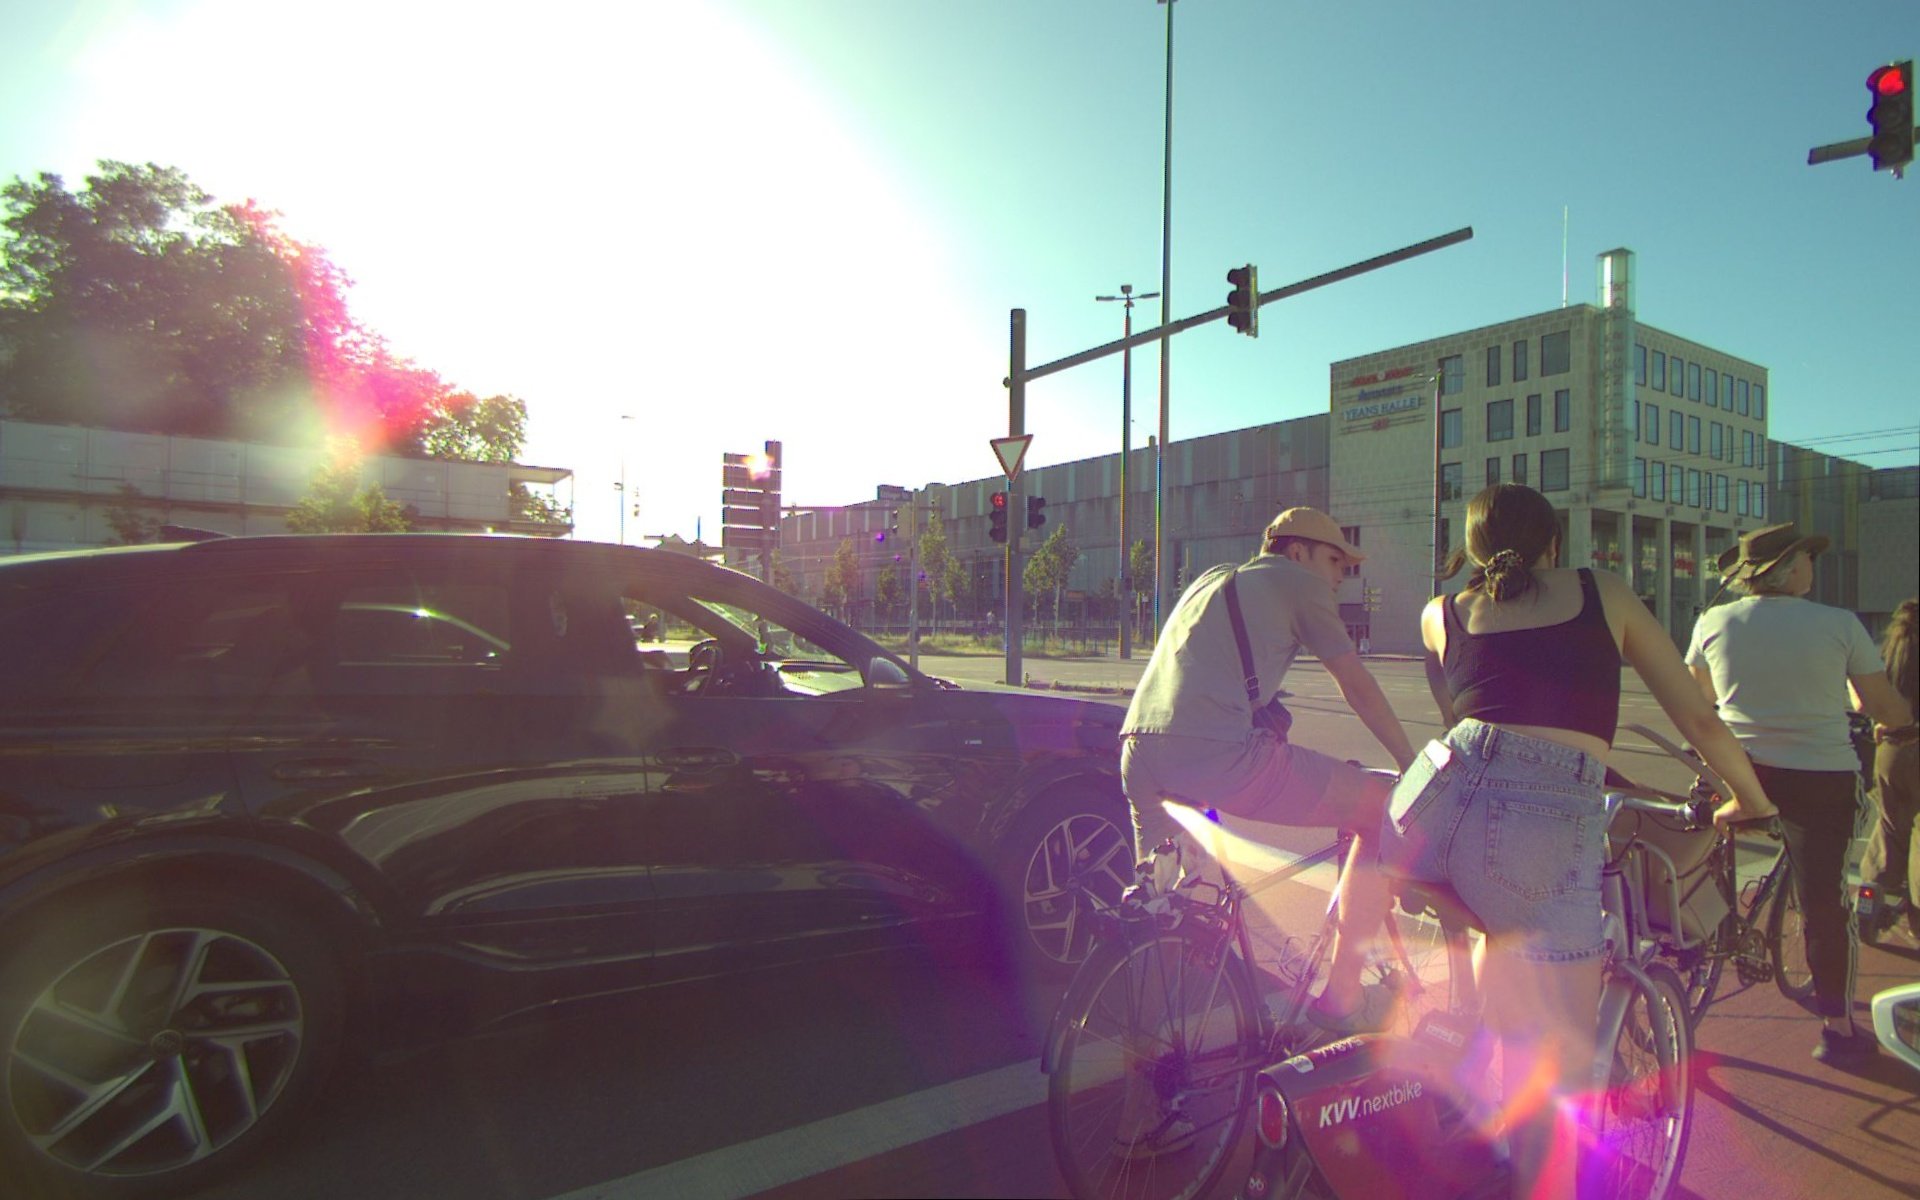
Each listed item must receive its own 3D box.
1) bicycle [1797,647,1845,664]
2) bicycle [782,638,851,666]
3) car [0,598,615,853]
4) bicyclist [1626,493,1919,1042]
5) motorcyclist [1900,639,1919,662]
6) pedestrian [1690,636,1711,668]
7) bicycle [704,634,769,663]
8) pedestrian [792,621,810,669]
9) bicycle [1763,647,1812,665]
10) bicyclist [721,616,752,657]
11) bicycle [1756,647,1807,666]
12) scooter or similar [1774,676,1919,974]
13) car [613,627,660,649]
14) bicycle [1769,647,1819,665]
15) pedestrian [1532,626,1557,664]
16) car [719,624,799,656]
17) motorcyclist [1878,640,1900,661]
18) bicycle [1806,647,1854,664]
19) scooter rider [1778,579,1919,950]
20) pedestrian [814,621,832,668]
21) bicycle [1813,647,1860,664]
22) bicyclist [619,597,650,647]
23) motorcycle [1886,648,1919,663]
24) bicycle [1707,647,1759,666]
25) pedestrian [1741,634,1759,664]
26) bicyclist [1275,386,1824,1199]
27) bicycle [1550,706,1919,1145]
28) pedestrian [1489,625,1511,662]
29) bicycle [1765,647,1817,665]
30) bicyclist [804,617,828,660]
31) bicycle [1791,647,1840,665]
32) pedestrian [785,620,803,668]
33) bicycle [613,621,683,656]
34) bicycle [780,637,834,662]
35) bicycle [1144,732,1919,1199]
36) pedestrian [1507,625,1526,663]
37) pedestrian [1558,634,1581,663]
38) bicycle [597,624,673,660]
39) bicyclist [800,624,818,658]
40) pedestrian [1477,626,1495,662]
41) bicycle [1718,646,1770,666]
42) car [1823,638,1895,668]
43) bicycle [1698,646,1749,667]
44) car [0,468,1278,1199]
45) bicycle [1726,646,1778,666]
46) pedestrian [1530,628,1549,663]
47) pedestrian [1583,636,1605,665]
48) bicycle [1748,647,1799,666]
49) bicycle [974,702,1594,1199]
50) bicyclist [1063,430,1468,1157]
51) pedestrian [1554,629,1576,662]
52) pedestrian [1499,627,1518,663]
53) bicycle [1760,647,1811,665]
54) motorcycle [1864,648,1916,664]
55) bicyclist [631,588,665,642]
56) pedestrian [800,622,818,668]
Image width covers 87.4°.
[{"bbox_3d":[59.046,3.801,68.890,0.652,1.125,2.458,1,-2,-28],"label":"bicycle"},{"bbox_3d":[-5.203,1.872,36.372,2.365,0.953,0.751,1,-1,-28],"label":"bicycle"},{"bbox_3d":[-4.819,0.710,6.723,4.475,1.370,1.762,2,-1,-31],"label":"car"},{"bbox_3d":[2.962,0.528,3.608,0.777,1.691,0.695,1,-1,-32],"label":"bicyclist"},{"bbox_3d":[70.723,3.741,74.639,0.908,1.596,1.129,2,0,-37],"label":"motorcyclist"},{"bbox_3d":[40.882,2.859,55.445,0.748,1.763,0.746,1,-1,-32],"label":"pedestrian"},{"bbox_3d":[-7.711,1.650,34.624,2.053,0.939,0.799,0,-1,-31],"label":"bicycle"},{"bbox_3d":[-5.359,1.501,33.805,0.446,1.587,0.516,1,-1,-30],"label":"pedestrian"},{"bbox_3d":[54.442,3.652,66.099,0.675,1.125,2.458,1,-2,-28],"label":"bicycle"},{"bbox_3d":[-7.716,1.251,34.627,0.832,1.375,0.799,0,0,-31],"label":"bicyclist"},{"bbox_3d":[52.563,3.588,64.284,0.675,1.125,2.458,1,-2,-28],"label":"bicycle"},{"bbox_3d":[4.567,0.994,4.793,1.468,1.191,0.638,1,0,-33],"label":"scooter or similar"},{"bbox_3d":[-21.392,2.489,66.376,1.980,1.394,3.962,0,-1,-34],"label":"car"},{"bbox_3d":[55.459,3.687,66.812,0.824,1.125,2.458,1,-2,-28],"label":"bicycle"},{"bbox_3d":[33.890,2.578,58.241,1.042,2.157,1.098,1,-1,20],"label":"pedestrian"},{"bbox_3d":[-9.221,1.793,45.956,1.984,1.394,3.954,0,-1,-40],"label":"car"},{"bbox_3d":[67.622,3.668,73.135,0.908,1.490,1.029,2,0,-37],"label":"motorcyclist"},{"bbox_3d":[60.272,3.855,69.607,0.623,1.125,2.458,1,-2,-28],"label":"bicycle"},{"bbox_3d":[4.432,0.706,4.685,1.105,1.564,0.638,1,0,-33],"label":"scooter rider"},{"bbox_3d":[-4.678,1.520,34.206,0.446,1.587,0.516,1,-1,-30],"label":"pedestrian"},{"bbox_3d":[61.257,3.876,70.222,0.652,1.125,2.458,1,-2,-28],"label":"bicycle"},{"bbox_3d":[-9.328,0.628,28.802,0.829,1.420,0.803,0,0,-16],"label":"bicyclist"},{"bbox_3d":[70.688,4.172,74.653,0.908,1.009,2.649,2,0,-36],"label":"motorcycle"},{"bbox_3d":[46.833,3.413,60.871,0.676,1.125,2.457,1,-2,-29],"label":"bicycle"},{"bbox_3d":[55.157,3.416,70.153,0.933,2.008,1.004,0,-1,36],"label":"pedestrian"},{"bbox_3d":[1.189,0.461,2.057,0.837,1.563,0.647,1,-1,-31],"label":"bicyclist"},{"bbox_3d":[2.938,0.990,3.582,1.780,1.108,0.703,1,-1,-32],"label":"bicycle"},{"bbox_3d":[32.246,2.575,60.001,0.940,2.152,0.888,2,-1,-41],"label":"pedestrian"},{"bbox_3d":[53.903,3.625,65.182,0.824,1.125,2.458,1,-2,-28],"label":"bicycle"},{"bbox_3d":[-5.212,1.387,36.367,0.610,1.525,0.751,1,-1,-28],"label":"bicyclist"},{"bbox_3d":[58.327,3.789,68.501,0.824,1.125,2.458,1,-2,-28],"label":"bicycle"},{"bbox_3d":[-5.649,1.494,34.275,0.446,1.587,0.516,1,-1,-30],"label":"pedestrian"},{"bbox_3d":[-9.201,1.131,29.702,1.945,1.010,0.647,0,-1,-16],"label":"bicycle"},{"bbox_3d":[-6.015,1.921,39.503,2.042,0.939,0.803,0,0,-14],"label":"bicycle"},{"bbox_3d":[1.274,0.904,2.110,1.780,1.108,0.647,1,-1,-32],"label":"bicycle"},{"bbox_3d":[32.454,2.554,58.539,0.881,2.152,0.946,0,-1,25],"label":"pedestrian"},{"bbox_3d":[35.446,2.813,58.388,0.988,1.672,0.948,1,-1,22],"label":"pedestrian"},{"bbox_3d":[-9.290,1.183,28.813,2.043,0.991,0.803,0,0,-16],"label":"bicycle"},{"bbox_3d":[-5.952,1.599,39.533,0.627,1.287,0.803,0,0,-14],"label":"bicyclist"},{"bbox_3d":[32.233,2.679,61.533,0.883,2.152,0.944,0,-1,34],"label":"pedestrian"},{"bbox_3d":[48.014,3.434,61.522,0.675,1.125,2.459,1,-2,-27],"label":"bicycle"},{"bbox_3d":[49.843,2.905,55.682,4.247,1.602,1.927,1,-2,-32],"label":"car"},{"bbox_3d":[45.701,3.373,60.171,0.650,1.127,2.391,1,-2,-29],"label":"bicycle"},{"bbox_3d":[-1.153,0.610,4.099,4.740,1.684,2.182,2,-1,-33],"label":"car"},{"bbox_3d":[48.747,3.443,61.847,0.675,1.125,2.458,1,-2,-28],"label":"bicycle"},{"bbox_3d":[34.480,2.707,59.806,0.900,2.040,1.023,0,-1,26],"label":"pedestrian"},{"bbox_3d":[35.620,2.835,56.472,0.928,1.592,0.841,1,-1,24],"label":"pedestrian"},{"bbox_3d":[51.525,3.552,63.658,0.586,1.125,2.458,1,-2,-28],"label":"bicycle"},{"bbox_3d":[0.963,0.900,2.787,1.795,1.131,0.620,1,-1,-31],"label":"bicycle"},{"bbox_3d":[0.821,0.437,2.713,0.884,1.596,0.620,1,-1,-31],"label":"bicyclist"},{"bbox_3d":[37.881,2.828,62.916,1.016,2.040,0.906,2,-1,-42],"label":"pedestrian"},{"bbox_3d":[33.260,2.708,60.917,0.884,2.152,0.944,0,-1,36],"label":"pedestrian"},{"bbox_3d":[53.191,3.602,64.731,0.675,1.125,2.458,1,-2,-28],"label":"bicycle"},{"bbox_3d":[67.668,4.073,73.076,0.908,1.009,2.649,2,0,-36],"label":"motorcycle"},{"bbox_3d":[-9.208,0.437,29.714,0.926,1.565,0.647,0,-1,-15],"label":"bicyclist"},{"bbox_3d":[-5.274,1.547,35.056,0.446,1.587,0.516,1,-1,-30],"label":"pedestrian"}]
